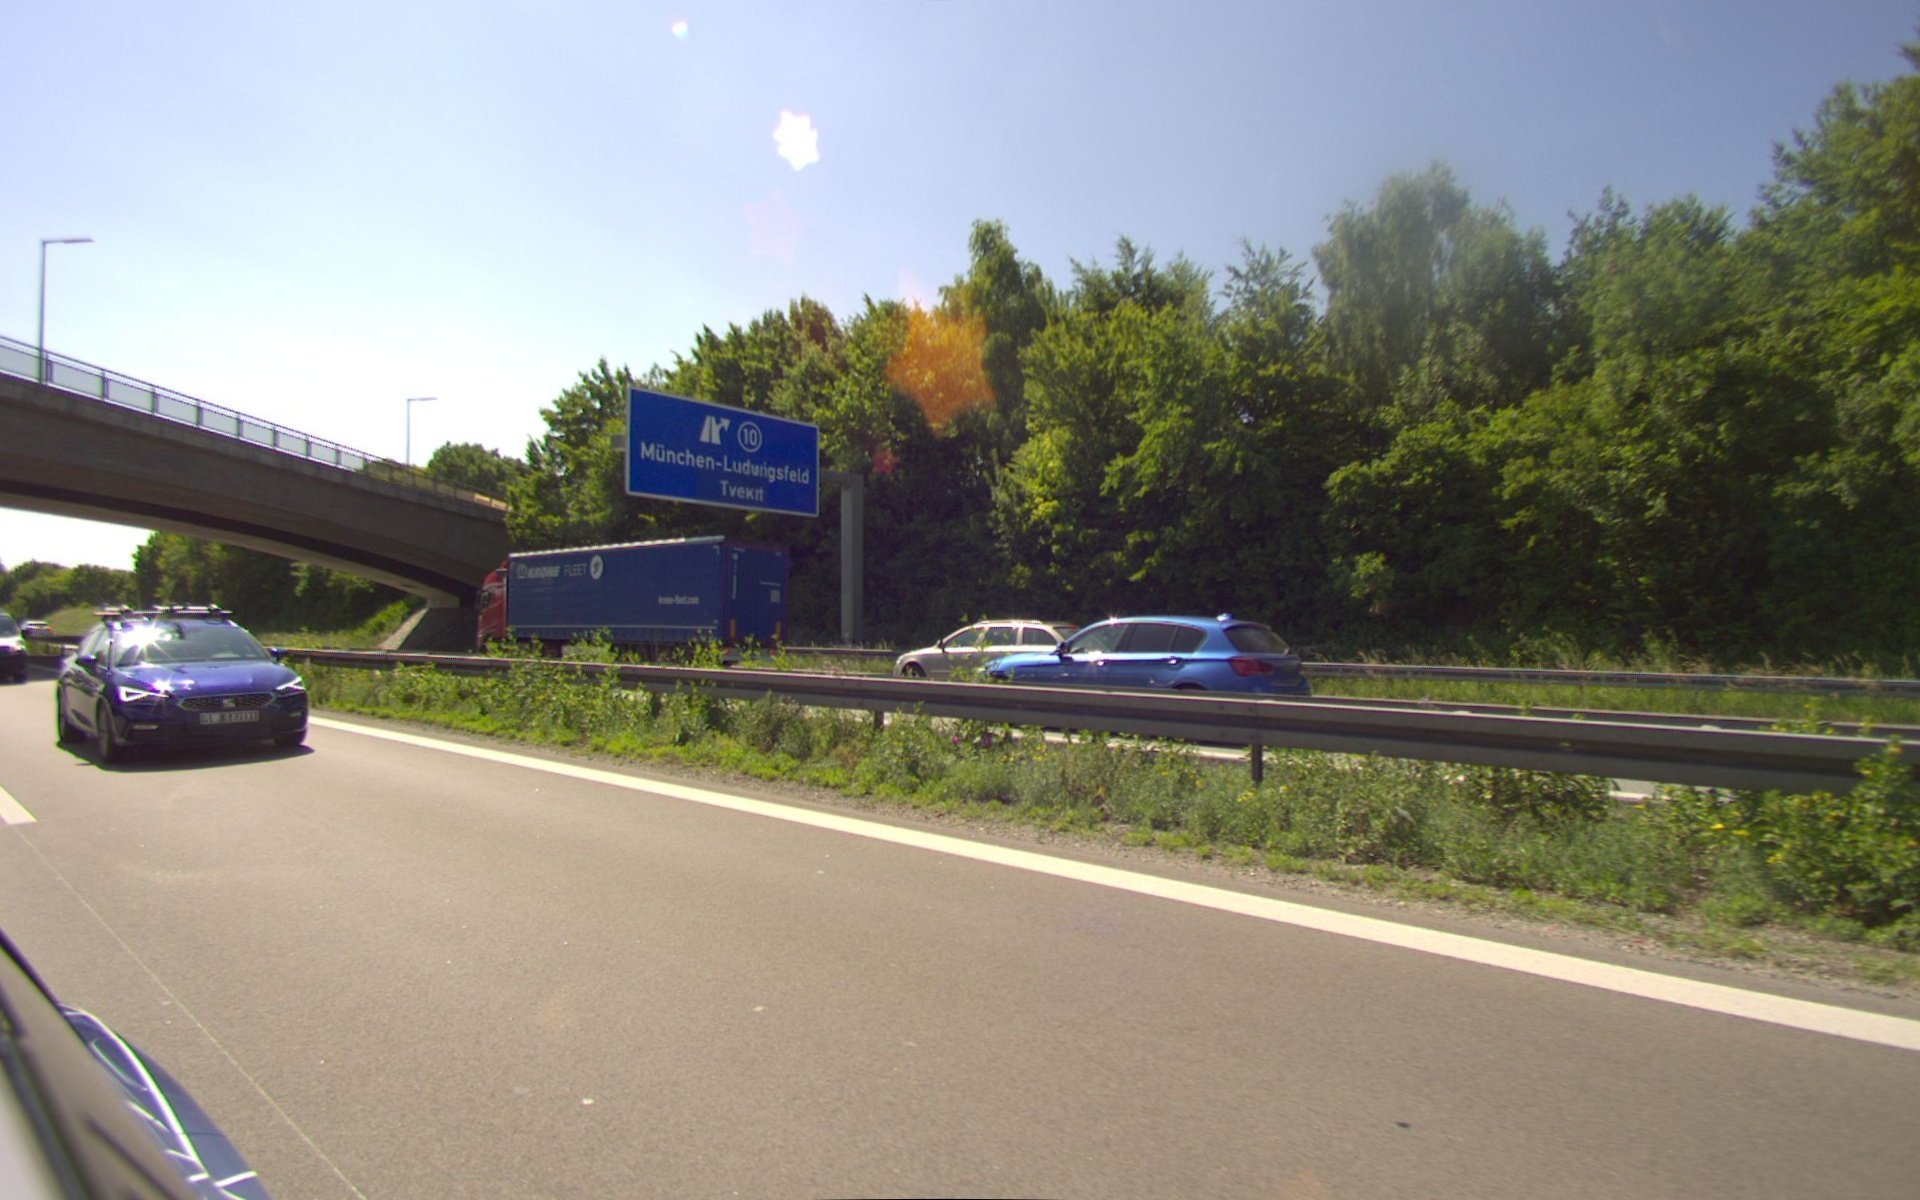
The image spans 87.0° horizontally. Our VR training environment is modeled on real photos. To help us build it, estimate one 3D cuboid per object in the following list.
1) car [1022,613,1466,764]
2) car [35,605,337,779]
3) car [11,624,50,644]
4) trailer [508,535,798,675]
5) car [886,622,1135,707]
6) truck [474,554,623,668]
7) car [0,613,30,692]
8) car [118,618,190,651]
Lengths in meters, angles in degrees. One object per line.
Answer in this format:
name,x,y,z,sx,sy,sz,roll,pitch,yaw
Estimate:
car,3.023,0.866,11.420,4.542,1.386,1.707,-1,-2,40
car,-8.981,0.915,11.621,4.237,1.638,1.881,-2,-1,40
car,-69.700,2.538,75.836,4.345,1.493,1.665,-2,-2,41
trailer,-11.084,0.346,34.931,13.540,4.071,2.756,-2,-4,41
car,0.830,1.115,18.754,4.542,1.386,1.707,-1,-2,40
truck,-16.032,0.511,39.261,6.206,4.092,2.756,-2,-4,41
car,-23.228,1.187,23.656,3.980,1.736,1.845,0,-1,42
car,-38.191,1.639,47.913,4.432,1.495,1.862,-2,-2,41
